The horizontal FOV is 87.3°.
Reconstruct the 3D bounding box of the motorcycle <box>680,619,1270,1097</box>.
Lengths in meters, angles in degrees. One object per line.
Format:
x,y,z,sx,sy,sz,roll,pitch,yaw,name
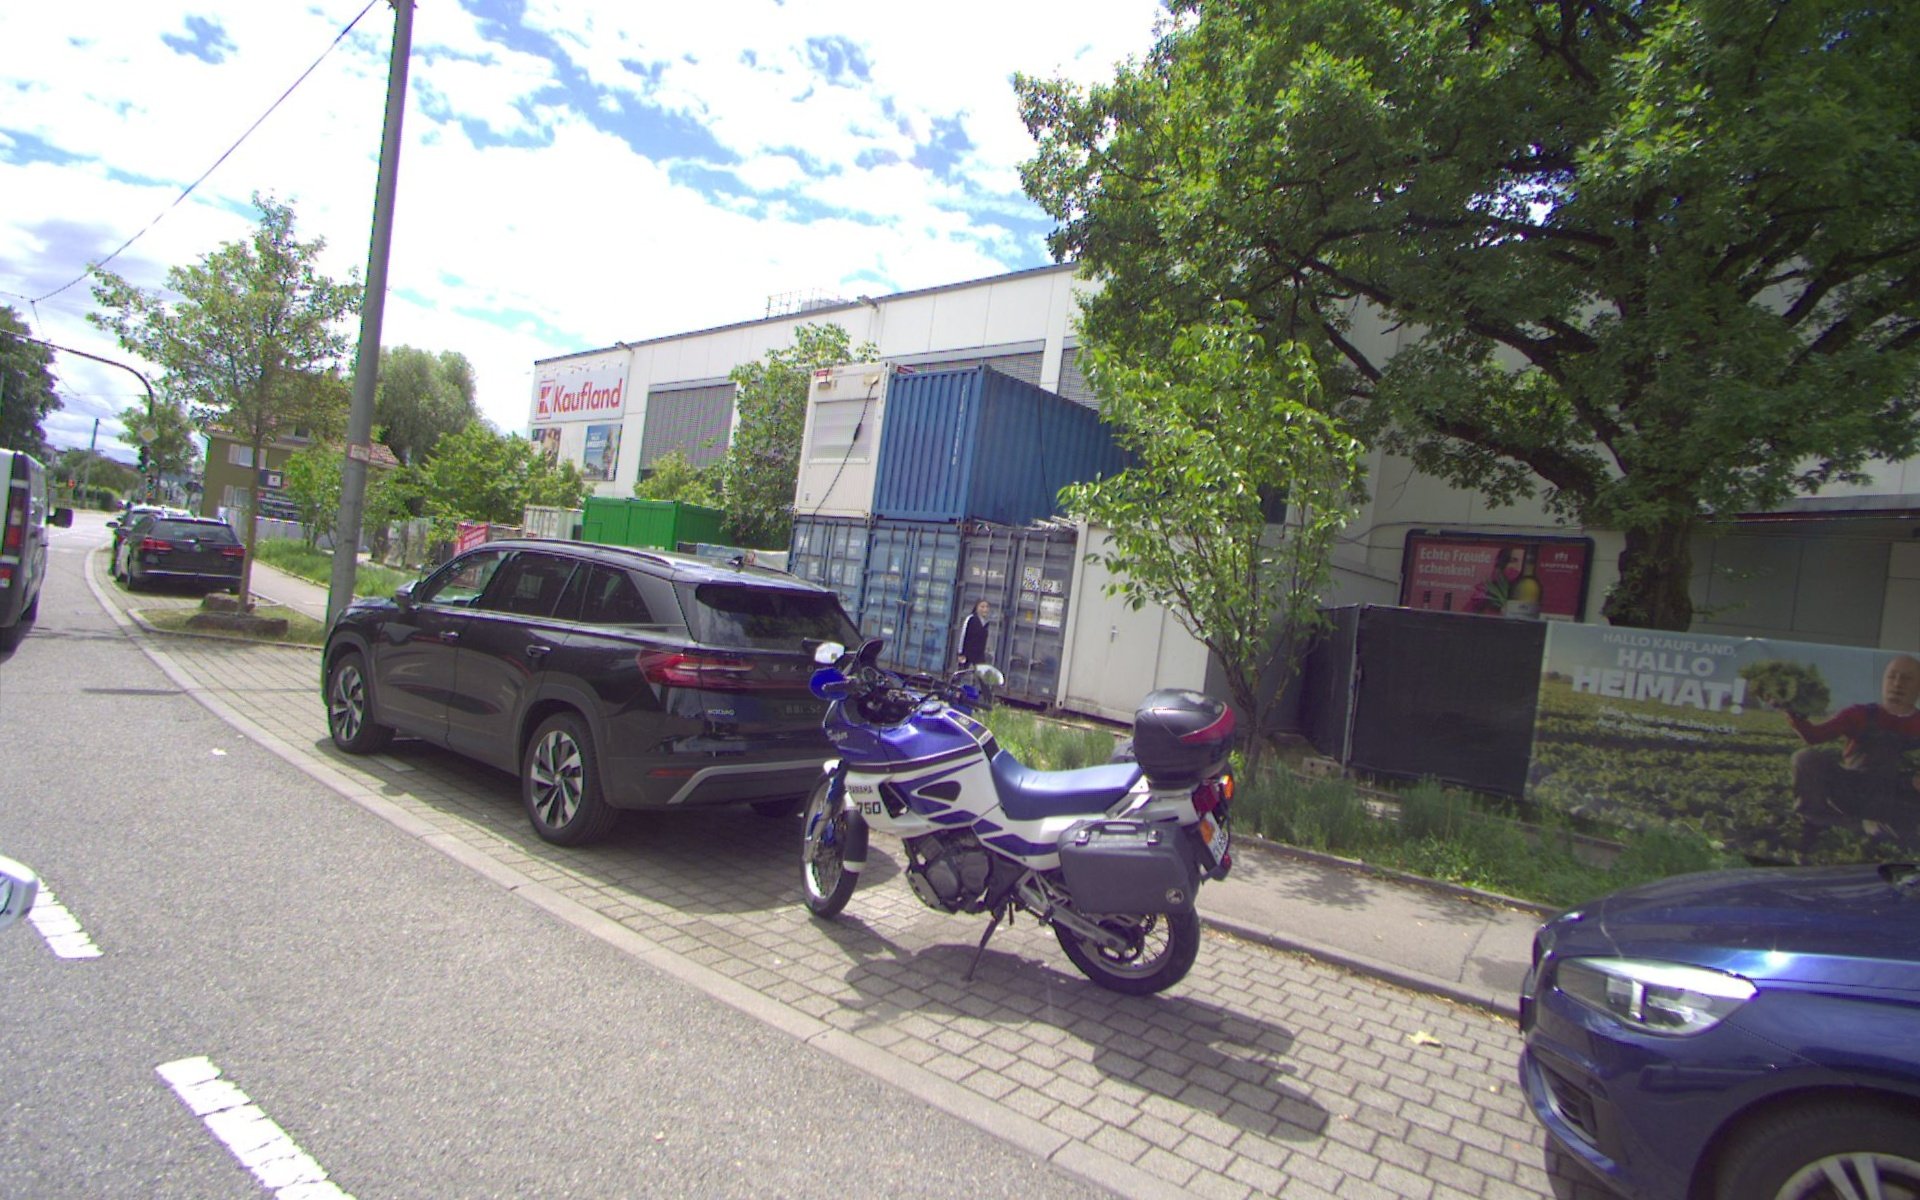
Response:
-0.006,0.868,4.318,2.225,1.323,1.070,7,2,36,motorcycle

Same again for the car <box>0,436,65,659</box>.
-10.729,-0.710,10.400,1.930,1.985,4.778,6,0,-40,car

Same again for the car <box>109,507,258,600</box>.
-15.404,-0.970,19.855,1.758,1.496,4.874,4,2,-44,car

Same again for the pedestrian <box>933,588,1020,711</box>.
0.232,0.706,14.341,0.758,1.637,0.741,7,0,45,pedestrian

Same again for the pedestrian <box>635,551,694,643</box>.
-5.938,-0.060,20.211,0.834,1.718,0.650,7,0,45,pedestrian

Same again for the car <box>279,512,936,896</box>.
-2.667,0.421,6.918,4.774,1.642,1.877,7,1,38,car

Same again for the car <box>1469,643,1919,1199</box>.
3.771,1.169,2.262,4.360,1.598,1.916,7,1,35,car

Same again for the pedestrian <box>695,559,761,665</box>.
-3.983,0.201,17.267,0.715,1.717,0.649,7,0,45,pedestrian

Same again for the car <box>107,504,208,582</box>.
-18.777,-1.372,23.477,1.562,1.512,3.953,6,0,-42,car

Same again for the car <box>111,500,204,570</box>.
-22.240,-1.820,27.816,1.729,1.637,4.335,4,1,-42,car
